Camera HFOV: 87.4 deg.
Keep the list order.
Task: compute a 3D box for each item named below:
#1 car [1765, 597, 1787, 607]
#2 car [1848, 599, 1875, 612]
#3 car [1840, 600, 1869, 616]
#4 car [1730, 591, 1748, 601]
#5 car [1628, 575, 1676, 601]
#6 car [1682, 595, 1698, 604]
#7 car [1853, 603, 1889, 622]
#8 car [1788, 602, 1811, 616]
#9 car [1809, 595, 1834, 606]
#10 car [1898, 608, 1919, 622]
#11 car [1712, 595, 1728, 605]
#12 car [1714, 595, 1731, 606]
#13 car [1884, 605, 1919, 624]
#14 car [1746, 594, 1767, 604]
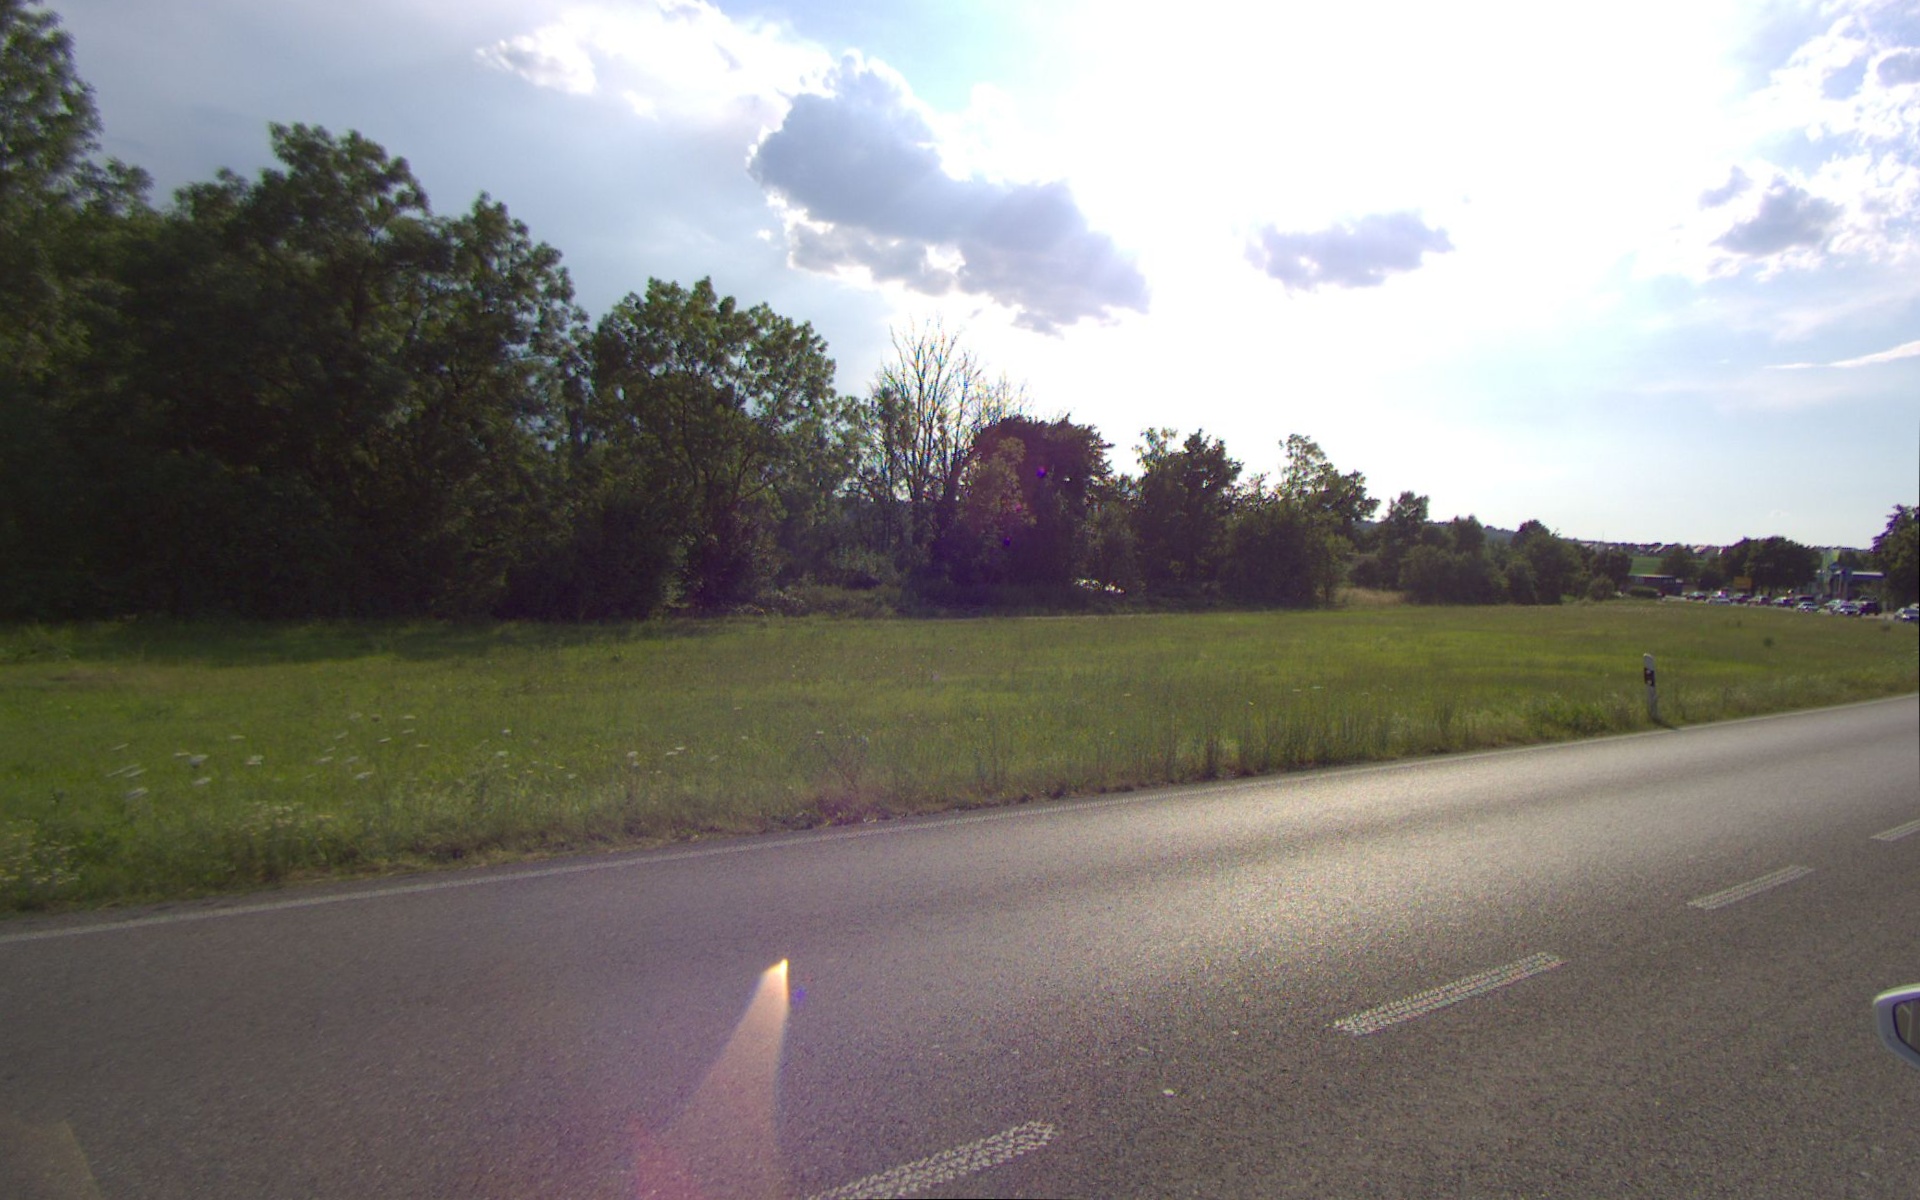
[{"bbox_3d":[128.592,0.296,158.275,2.055,1.621,3.991,2,1,31],"label":"car"},{"bbox_3d":[116.366,0.740,129.669,1.855,1.621,3.991,2,1,31],"label":"car"},{"bbox_3d":[102.097,0.908,114.627,1.967,1.748,4.410,2,1,36],"label":"car"},{"bbox_3d":[132.452,-0.677,170.843,1.855,1.621,3.991,2,1,31],"label":"car"},{"bbox_3d":[139.885,-2.426,203.247,3.481,5.127,13.247,2,1,15],"label":"car"},{"bbox_3d":[135.386,-0.090,186.312,1.854,1.621,3.993,2,1,29],"label":"car"},{"bbox_3d":[86.060,1.164,94.952,1.815,1.678,3.990,2,0,33],"label":"car"},{"bbox_3d":[110.338,1.236,132.025,1.815,1.678,3.990,2,0,33],"label":"car"},{"bbox_3d":[124.784,0.069,145.457,2.055,1.621,3.991,2,1,31],"label":"car"},{"bbox_3d":[115.255,1.823,121.293,2.055,1.621,3.991,2,1,31],"label":"car"},{"bbox_3d":[135.419,-0.001,178.925,1.855,1.621,3.991,2,1,31],"label":"car"},{"bbox_3d":[123.559,0.127,162.770,1.815,1.678,3.991,2,0,32],"label":"car"},{"bbox_3d":[89.698,1.420,95.680,1.815,1.678,3.990,2,0,33],"label":"car"},{"bbox_3d":[130.612,-0.202,164.737,1.853,1.621,3.994,2,1,28],"label":"car"}]
